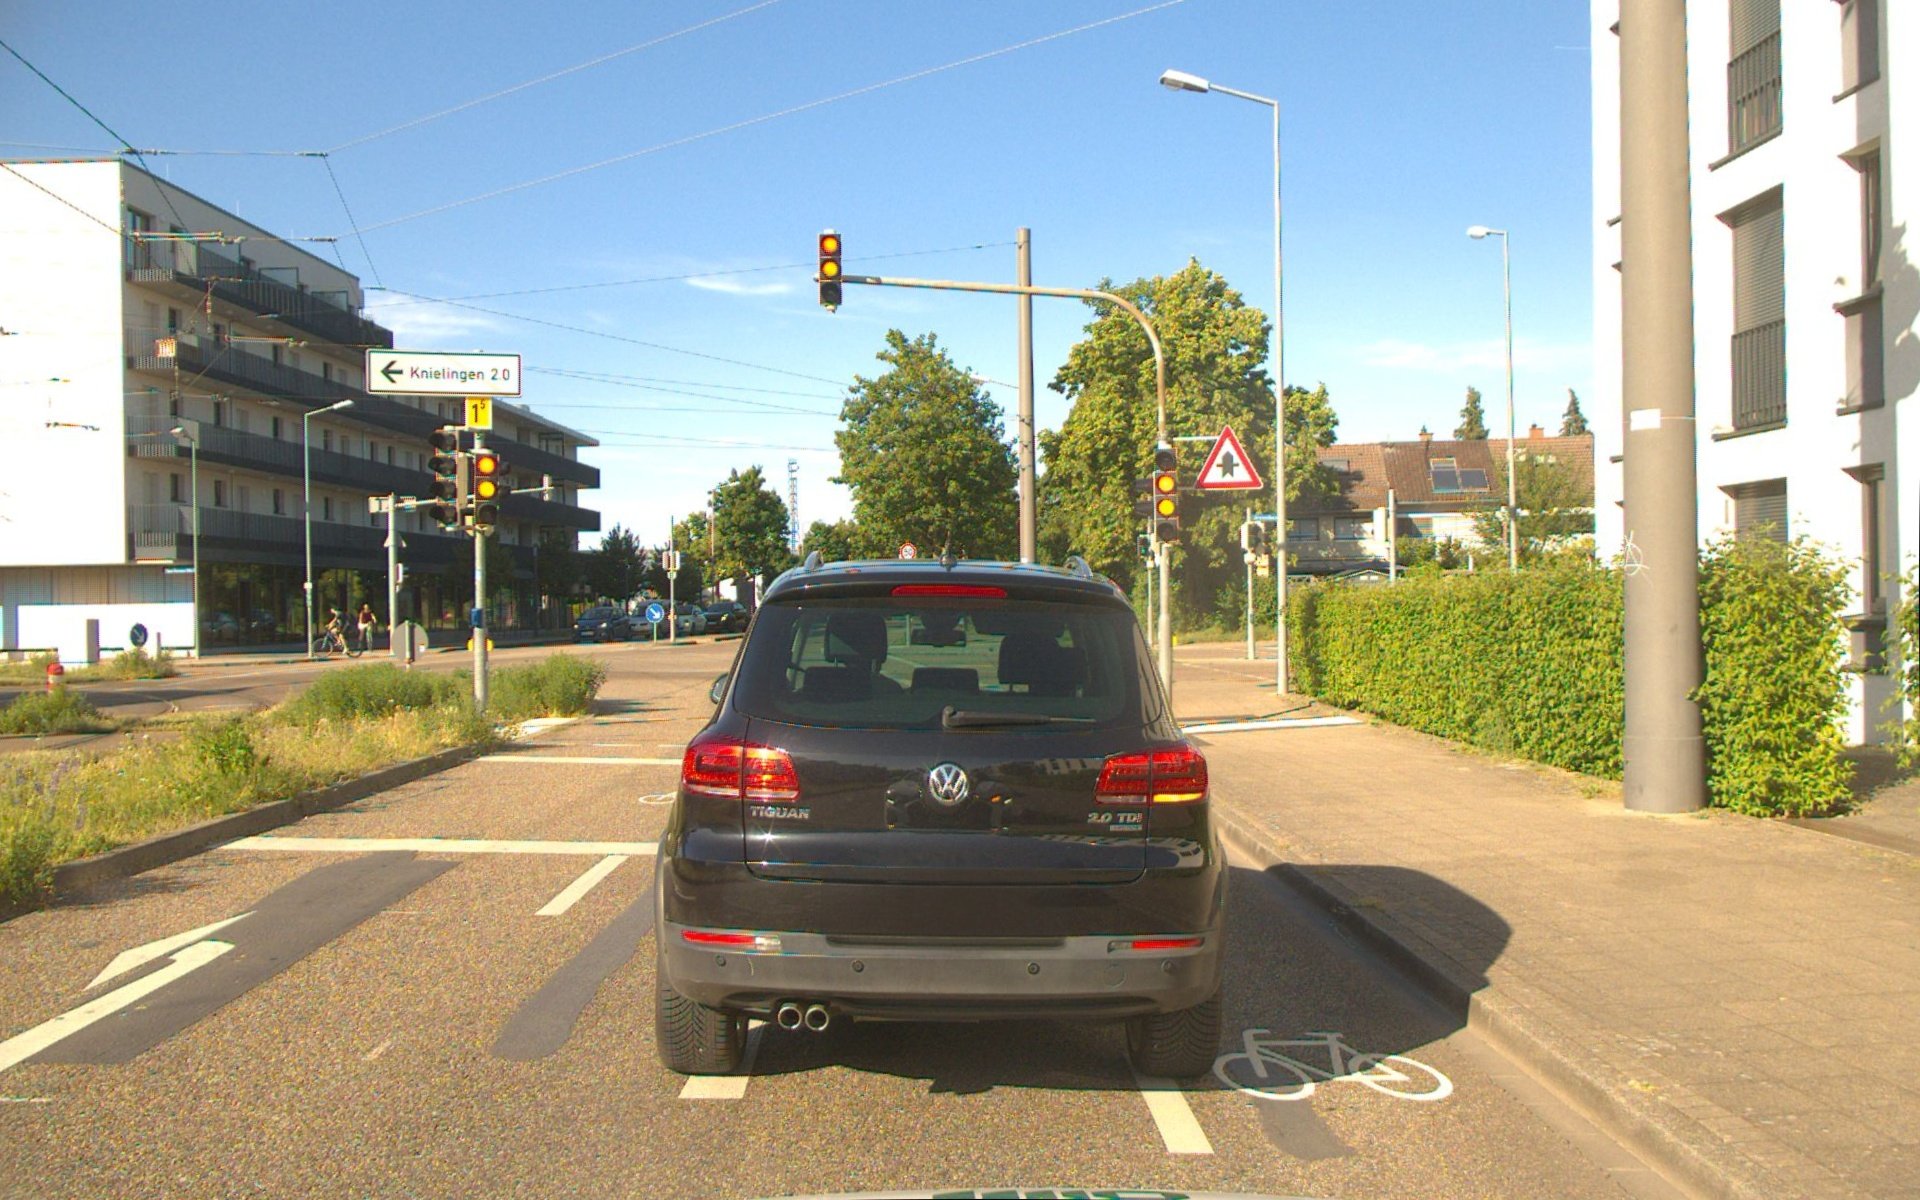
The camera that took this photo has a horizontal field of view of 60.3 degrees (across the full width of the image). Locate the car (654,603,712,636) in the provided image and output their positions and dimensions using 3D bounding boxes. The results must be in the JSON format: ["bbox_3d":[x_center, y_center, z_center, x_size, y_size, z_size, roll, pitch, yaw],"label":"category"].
[{"bbox_3d":[-13.940,0.973,83.364,1.951,1.513,3.546,-3,0,6],"label":"car"}]

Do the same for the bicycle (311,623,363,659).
[{"bbox_3d":[-21.315,1.394,56.611,1.617,1.164,0.739,-1,0,-25],"label":"bicycle"}]

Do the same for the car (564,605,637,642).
[{"bbox_3d":[-15.366,0.998,70.974,1.659,1.482,4.456,-1,0,7],"label":"car"}]

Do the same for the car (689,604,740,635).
[{"bbox_3d":[-13.300,1.037,89.745,1.926,1.561,4.741,-1,0,1],"label":"car"}]

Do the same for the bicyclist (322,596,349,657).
[{"bbox_3d":[-21.360,0.910,56.589,0.782,2.049,0.805,-1,0,-25],"label":"bicyclist"}]

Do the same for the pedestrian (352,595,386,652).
[{"bbox_3d":[-21.681,0.843,60.659,0.957,2.049,0.760,-1,0,-3],"label":"pedestrian"}]

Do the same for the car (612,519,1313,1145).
[{"bbox_3d":[-0.063,0.647,6.786,1.890,1.683,4.512,1,0,-2],"label":"car"}]

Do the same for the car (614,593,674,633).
[{"bbox_3d":[-14.881,0.606,78.002,1.953,1.786,4.361,-1,0,0],"label":"car"}]

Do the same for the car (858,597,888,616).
[{"bbox_3d":[-7.612,0.595,145.532,1.951,1.599,4.003,-1,0,7],"label":"car"}]
